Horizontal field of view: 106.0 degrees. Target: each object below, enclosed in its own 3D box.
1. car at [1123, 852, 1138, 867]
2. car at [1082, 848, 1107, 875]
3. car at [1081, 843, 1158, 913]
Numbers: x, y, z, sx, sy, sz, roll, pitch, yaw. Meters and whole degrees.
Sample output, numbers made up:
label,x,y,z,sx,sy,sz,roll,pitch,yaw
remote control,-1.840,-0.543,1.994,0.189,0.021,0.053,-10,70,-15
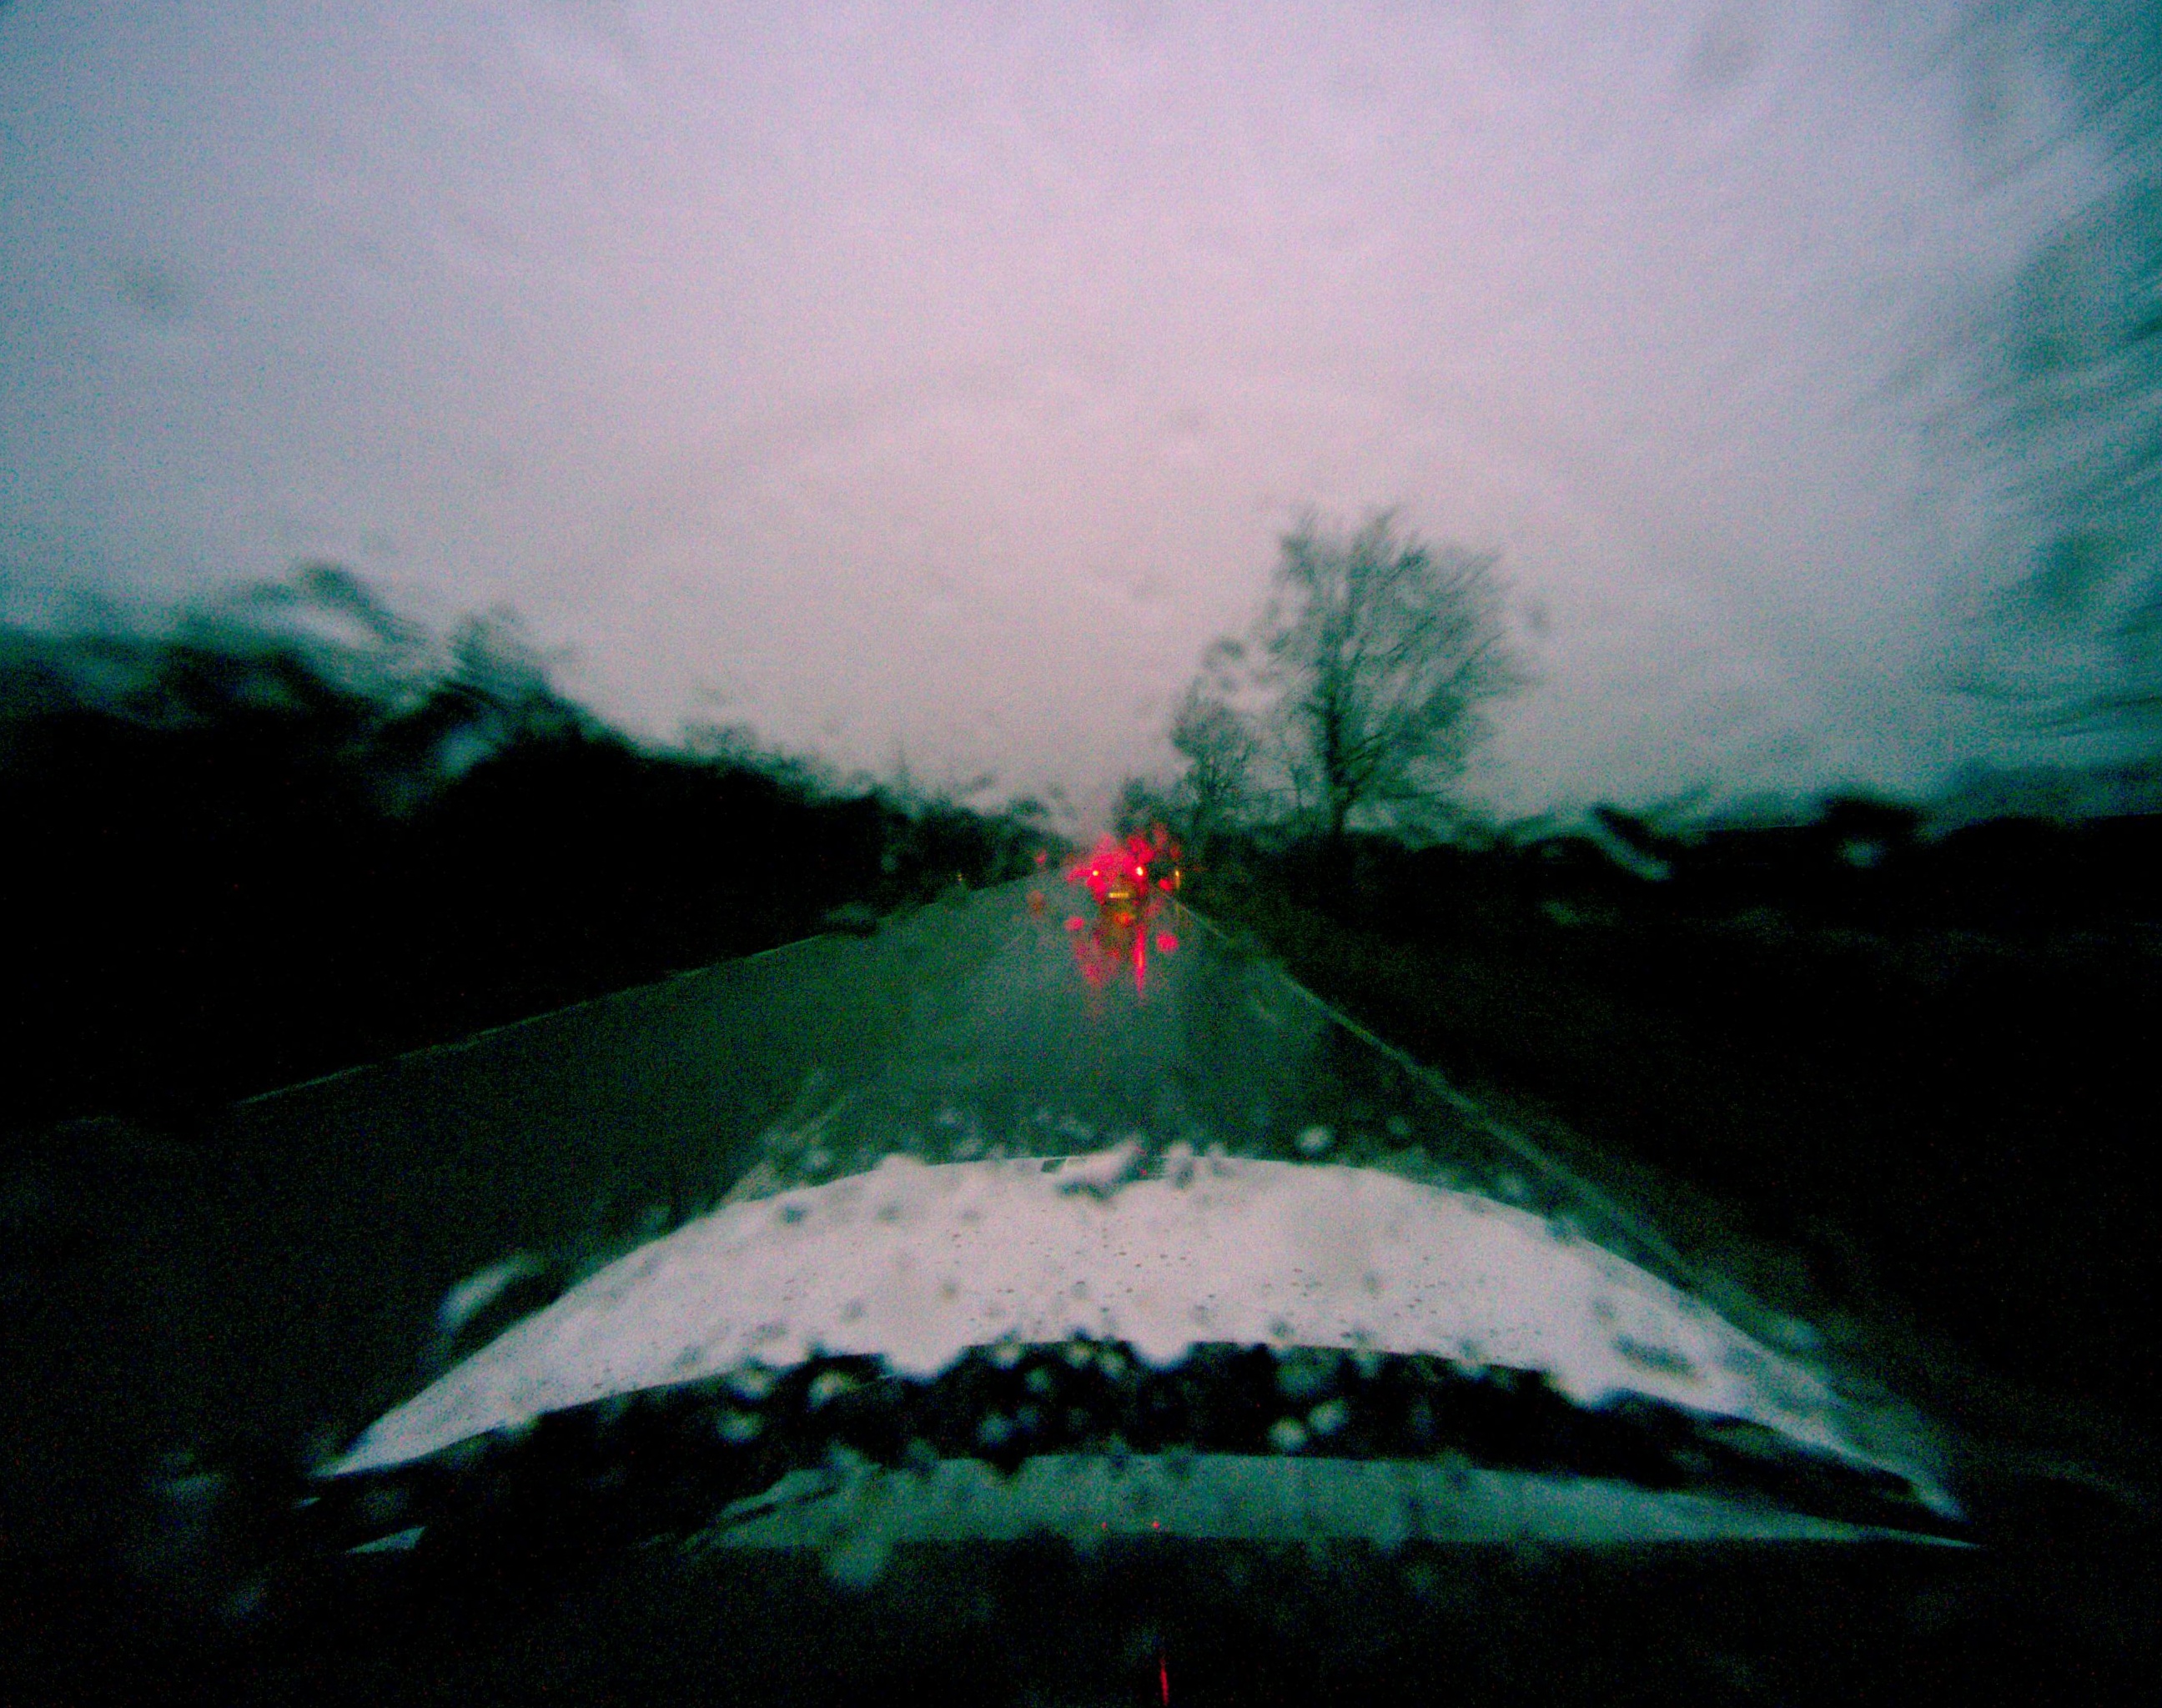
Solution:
label,x,y,z,sx,sy,sz,roll,pitch,yaw
car,5.362,0.570,87.672,1.556,1.591,3.493,0,0,5
car,0.971,0.509,57.431,1.568,1.875,3.712,0,0,3
car,1.098,0.612,22.792,1.985,1.784,4.003,0,0,3
